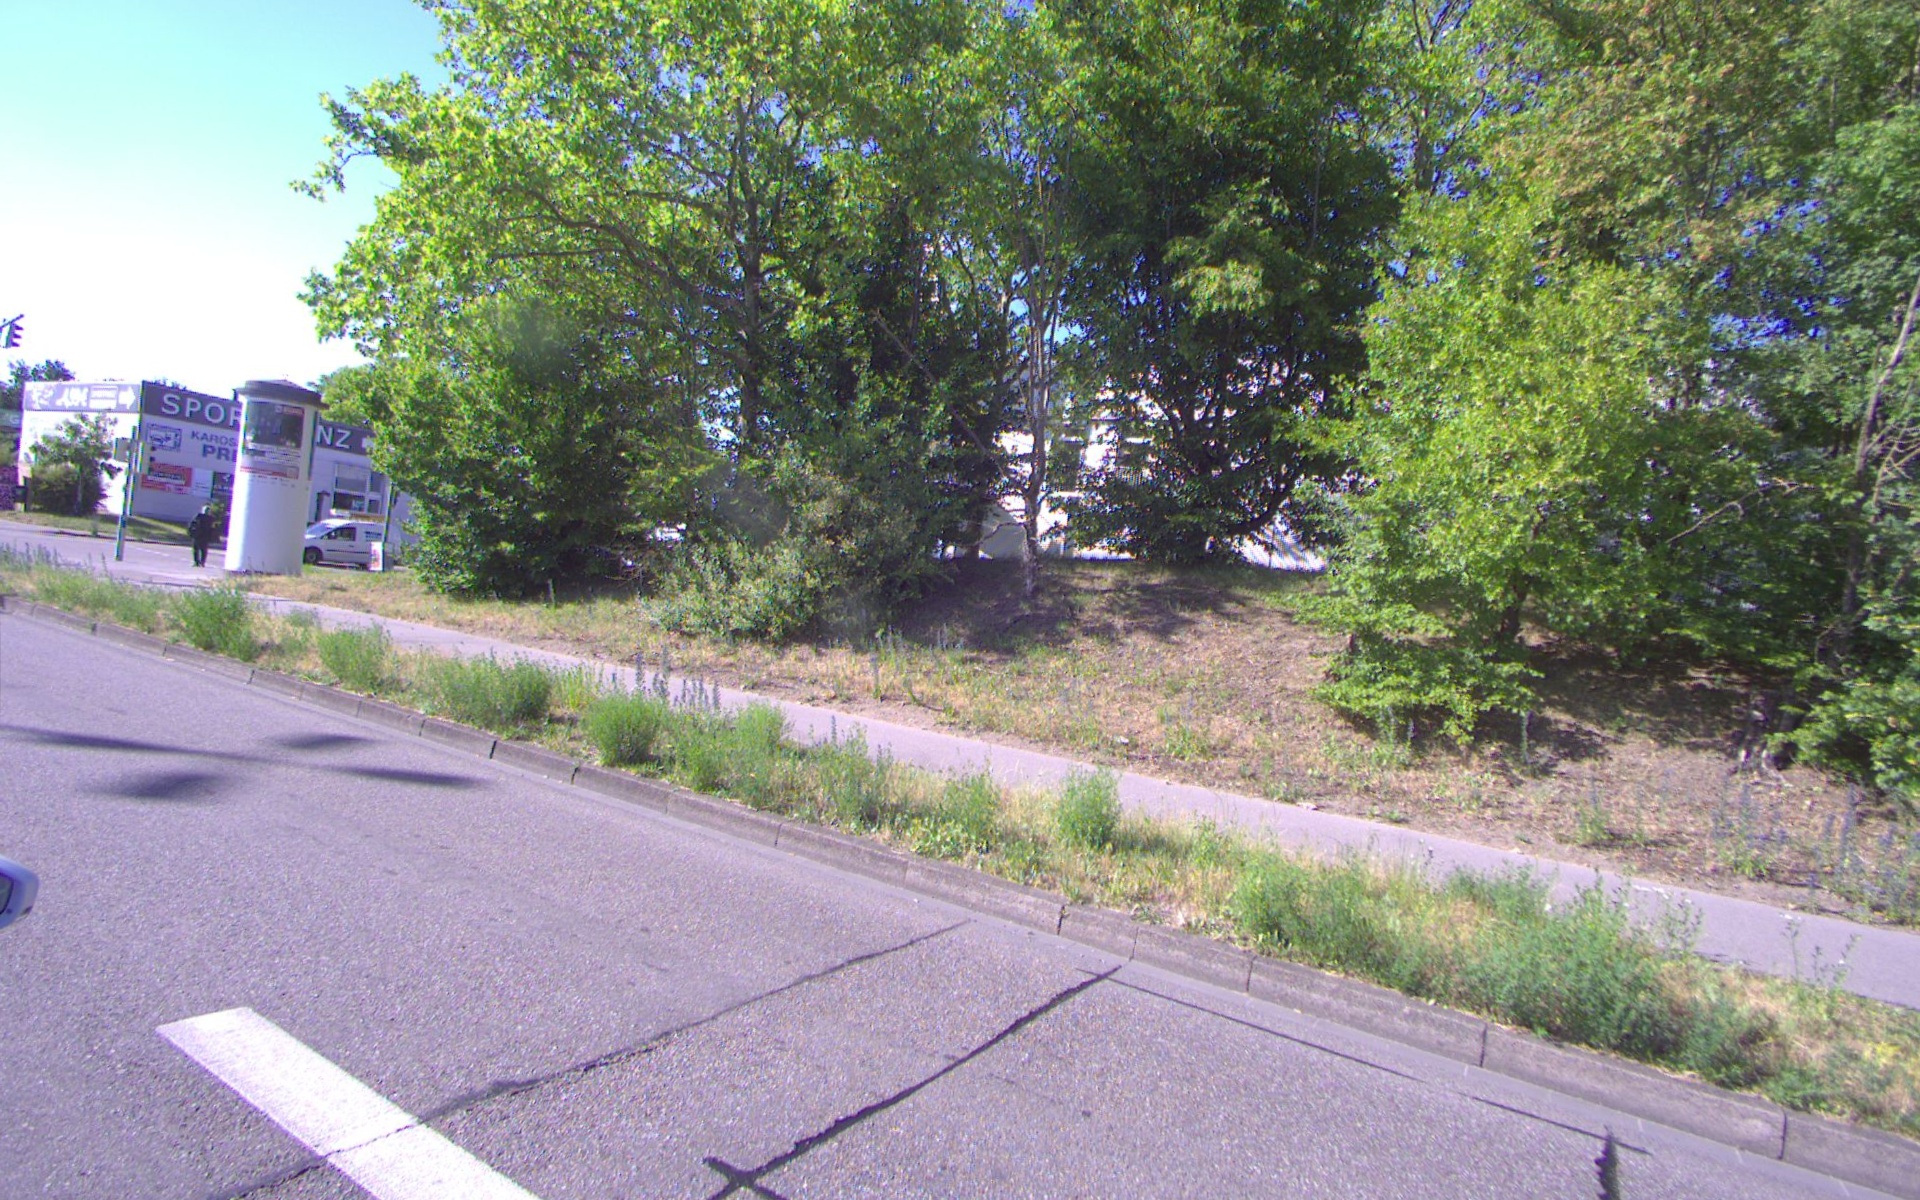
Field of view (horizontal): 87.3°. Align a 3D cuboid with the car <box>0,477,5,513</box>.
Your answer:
[{"bbox_3d":[-48.281,-5.342,47.672,1.663,1.726,4.003,7,-1,16],"label":"car"}]

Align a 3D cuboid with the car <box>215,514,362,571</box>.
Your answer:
[{"bbox_3d":[-26.823,-2.281,40.336,1.965,1.571,4.415,7,-1,28],"label":"car"}]

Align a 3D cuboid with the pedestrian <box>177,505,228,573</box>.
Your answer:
[{"bbox_3d":[-21.145,-1.710,28.077,0.841,1.743,0.822,7,0,39],"label":"pedestrian"}]

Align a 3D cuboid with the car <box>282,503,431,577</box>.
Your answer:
[{"bbox_3d":[-23.381,-2.286,39.164,1.965,2.171,4.415,7,-1,28],"label":"car"}]
